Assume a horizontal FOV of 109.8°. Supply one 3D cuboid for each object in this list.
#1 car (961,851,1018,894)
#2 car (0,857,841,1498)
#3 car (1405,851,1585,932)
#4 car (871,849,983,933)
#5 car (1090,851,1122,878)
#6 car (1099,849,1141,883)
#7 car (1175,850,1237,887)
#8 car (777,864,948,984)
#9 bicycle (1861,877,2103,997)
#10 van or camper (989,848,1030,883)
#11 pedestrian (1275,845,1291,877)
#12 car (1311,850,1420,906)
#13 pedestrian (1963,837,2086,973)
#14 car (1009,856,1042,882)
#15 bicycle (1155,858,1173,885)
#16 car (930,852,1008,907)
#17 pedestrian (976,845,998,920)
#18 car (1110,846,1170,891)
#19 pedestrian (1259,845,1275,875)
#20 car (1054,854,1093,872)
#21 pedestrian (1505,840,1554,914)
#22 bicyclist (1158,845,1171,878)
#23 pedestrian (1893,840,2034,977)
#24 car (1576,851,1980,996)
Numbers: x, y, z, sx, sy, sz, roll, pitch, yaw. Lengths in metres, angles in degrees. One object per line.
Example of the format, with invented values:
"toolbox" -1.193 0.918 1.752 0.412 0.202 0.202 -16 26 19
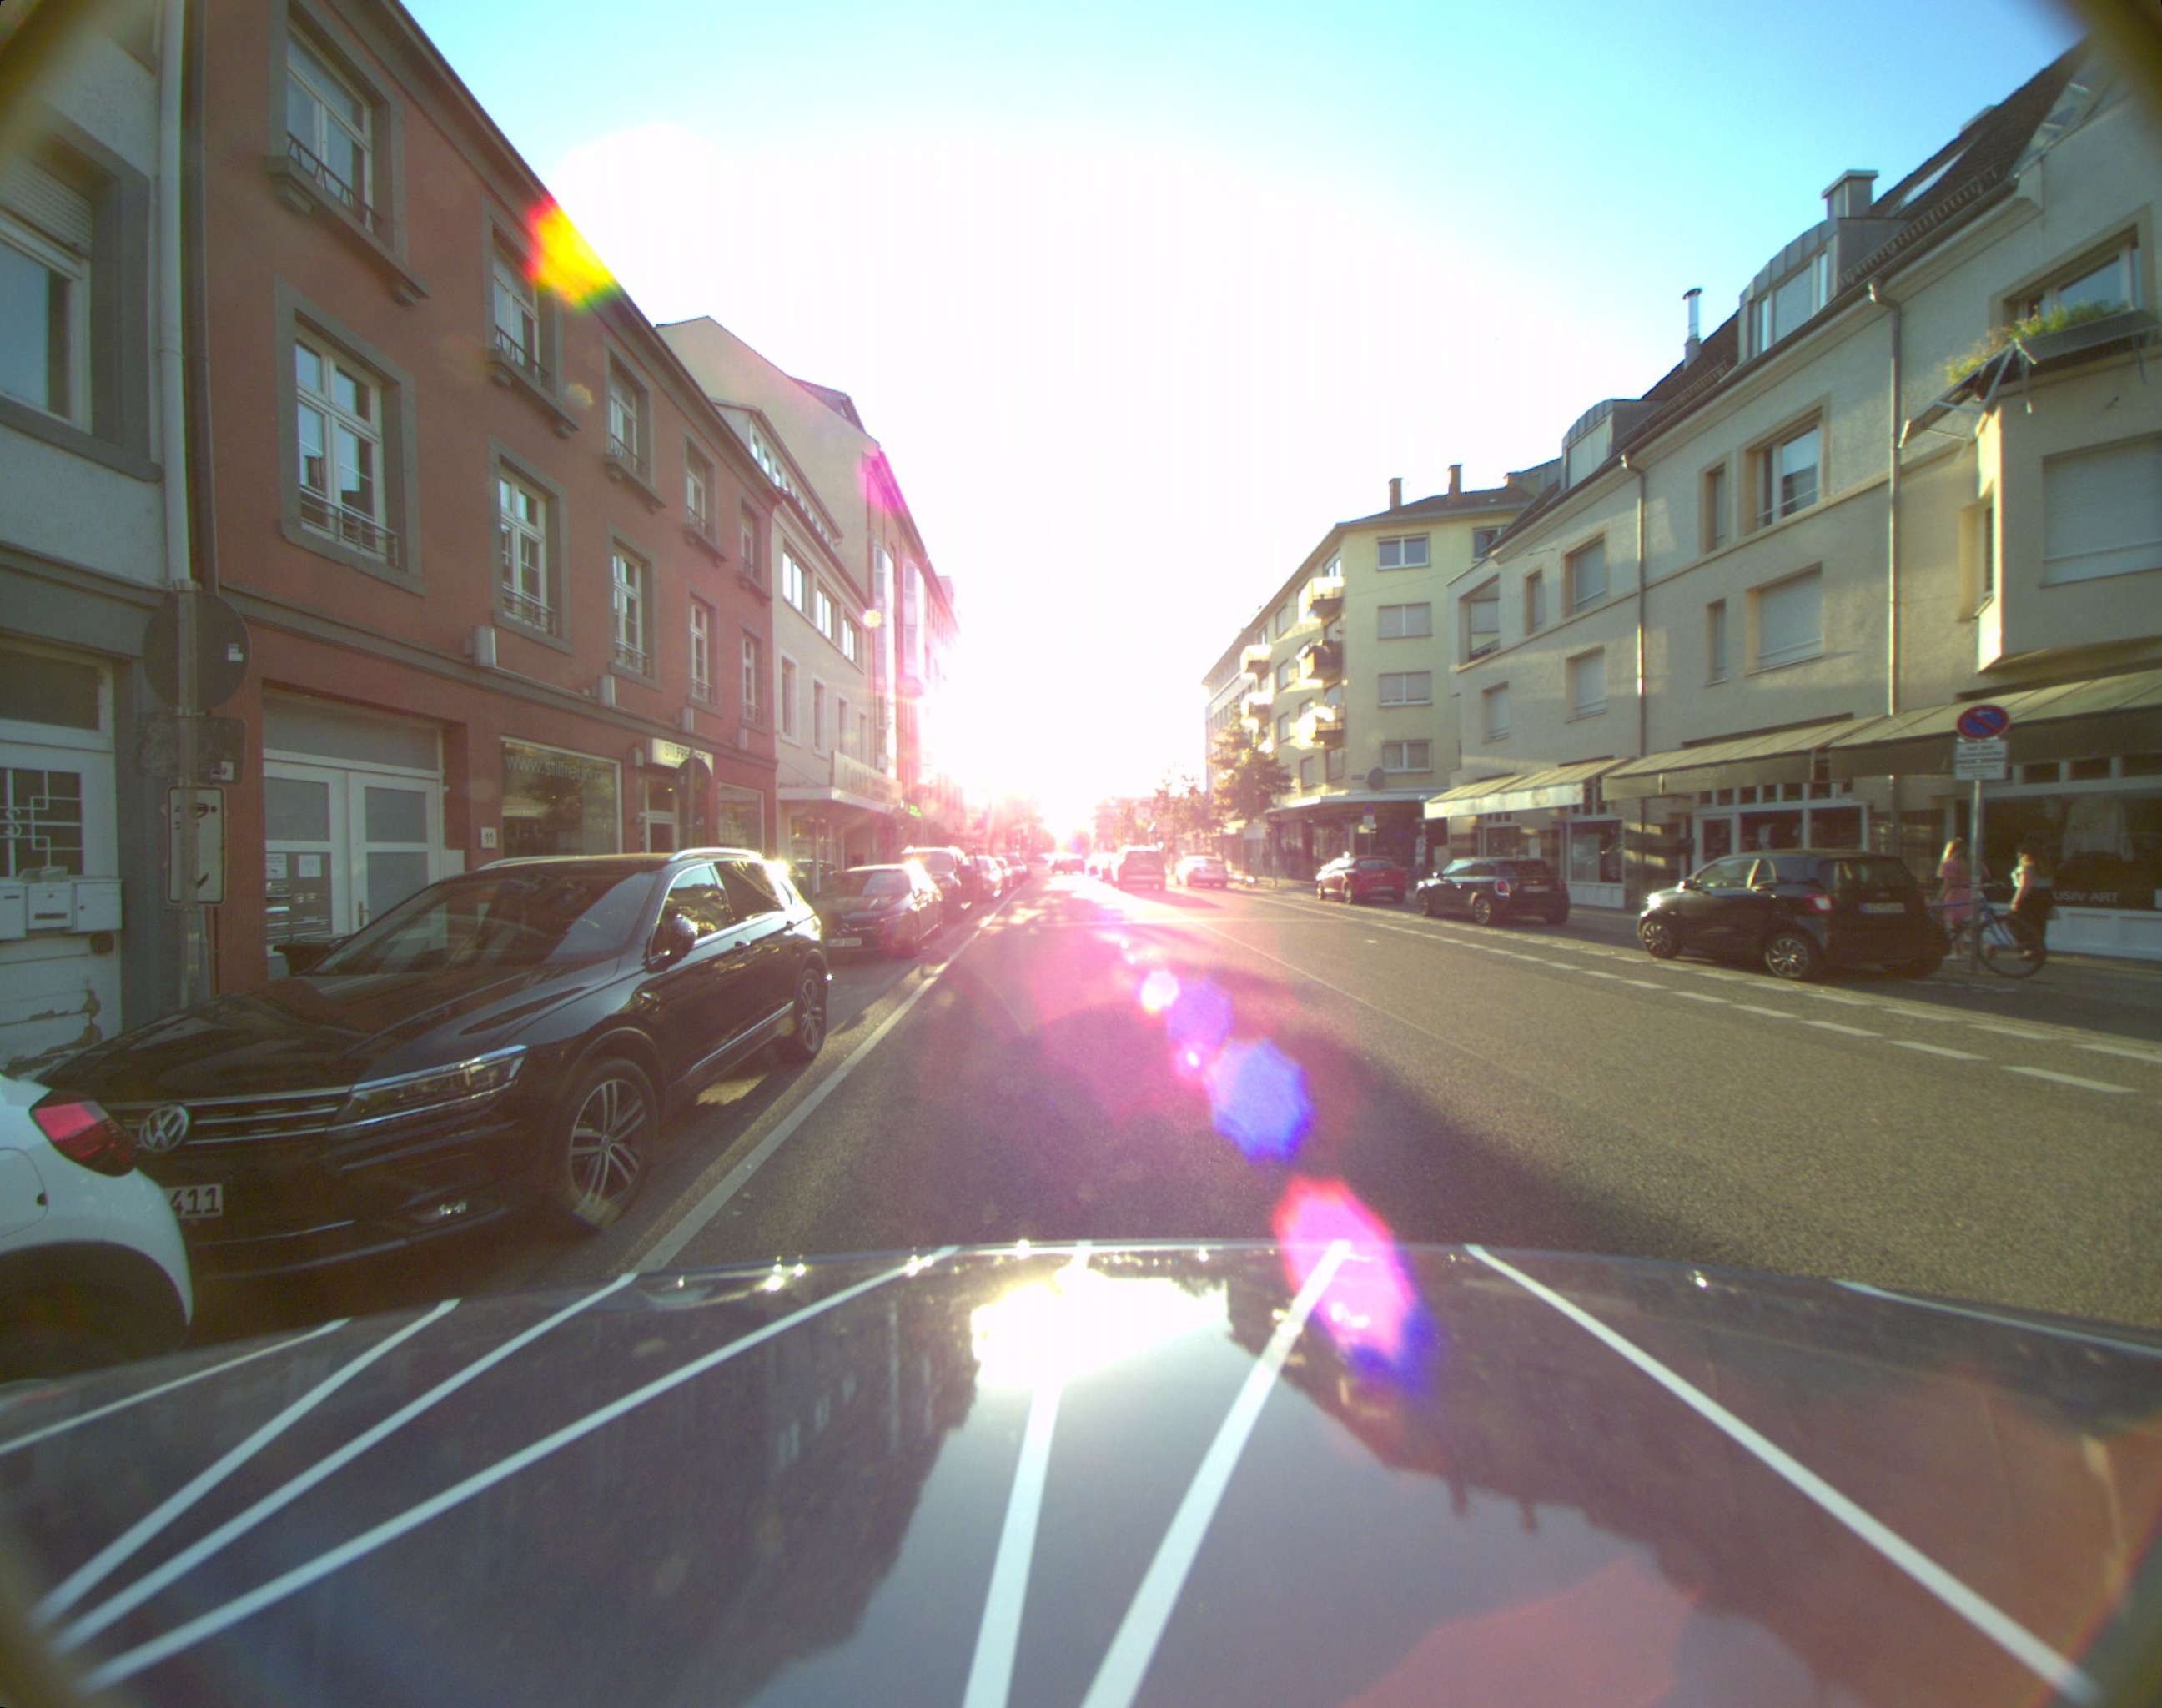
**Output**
"car" -3.766 0.729 32.074 1.999 1.645 4.478 -1 1 -2
"car" -2.949 0.928 4.341 1.799 1.688 4.459 -3 1 -2
"car" 8.992 0.732 16.919 1.794 1.571 3.785 -1 1 -3
"car" -3.719 0.804 19.364 1.999 1.767 5.316 -2 1 -3
"car" 1.592 0.640 49.446 1.843 1.639 4.299 1 1 -1
"car" 2.001 0.570 39.871 1.843 1.639 4.299 1 1 -2
"car" 5.765 0.642 35.523 1.999 1.595 4.403 0 0 -2
"car" -3.449 1.009 12.872 1.689 1.479 4.409 -3 1 -2
"bicycle" 10.639 0.923 9.105 0.559 1.199 1.977 -1 1 1
"van or camper" -3.849 0.587 41.728 1.792 1.763 4.557 -1 1 0
"pedestrian" 11.487 0.415 43.176 0.720 1.781 0.666 -1 1 -1
"car" 8.738 0.688 23.705 1.794 1.571 3.785 -1 1 -3
"pedestrian" 12.280 0.633 9.914 0.561 1.690 0.831 -1 1 -2
"car" -3.372 0.872 46.753 1.694 1.494 3.786 -1 1 0
"bicycle" 4.028 0.826 37.089 0.665 1.235 2.130 1 1 2
"car" -3.717 0.794 26.029 1.999 1.645 4.627 -2 1 -1
"pedestrian" -2.368 0.713 19.080 0.485 1.847 0.539 -1 1 -9
"car" 2.288 0.513 30.498 1.843 1.639 4.299 1 1 -3
"pedestrian" 11.073 0.358 45.201 0.720 1.781 0.666 -1 1 -1
"car" -0.670 0.732 62.905 1.506 1.426 4.018 1 1 -27
"pedestrian" 10.734 0.541 18.207 0.720 1.724 0.738 -1 1 -2
"bicyclist" 4.044 0.373 36.950 0.548 1.571 0.803 -1 1 2
"pedestrian" 11.510 0.675 9.955 0.632 1.690 1.040 -1 1 -2
"car" 9.086 0.769 10.471 1.794 1.571 3.965 -1 1 -4
